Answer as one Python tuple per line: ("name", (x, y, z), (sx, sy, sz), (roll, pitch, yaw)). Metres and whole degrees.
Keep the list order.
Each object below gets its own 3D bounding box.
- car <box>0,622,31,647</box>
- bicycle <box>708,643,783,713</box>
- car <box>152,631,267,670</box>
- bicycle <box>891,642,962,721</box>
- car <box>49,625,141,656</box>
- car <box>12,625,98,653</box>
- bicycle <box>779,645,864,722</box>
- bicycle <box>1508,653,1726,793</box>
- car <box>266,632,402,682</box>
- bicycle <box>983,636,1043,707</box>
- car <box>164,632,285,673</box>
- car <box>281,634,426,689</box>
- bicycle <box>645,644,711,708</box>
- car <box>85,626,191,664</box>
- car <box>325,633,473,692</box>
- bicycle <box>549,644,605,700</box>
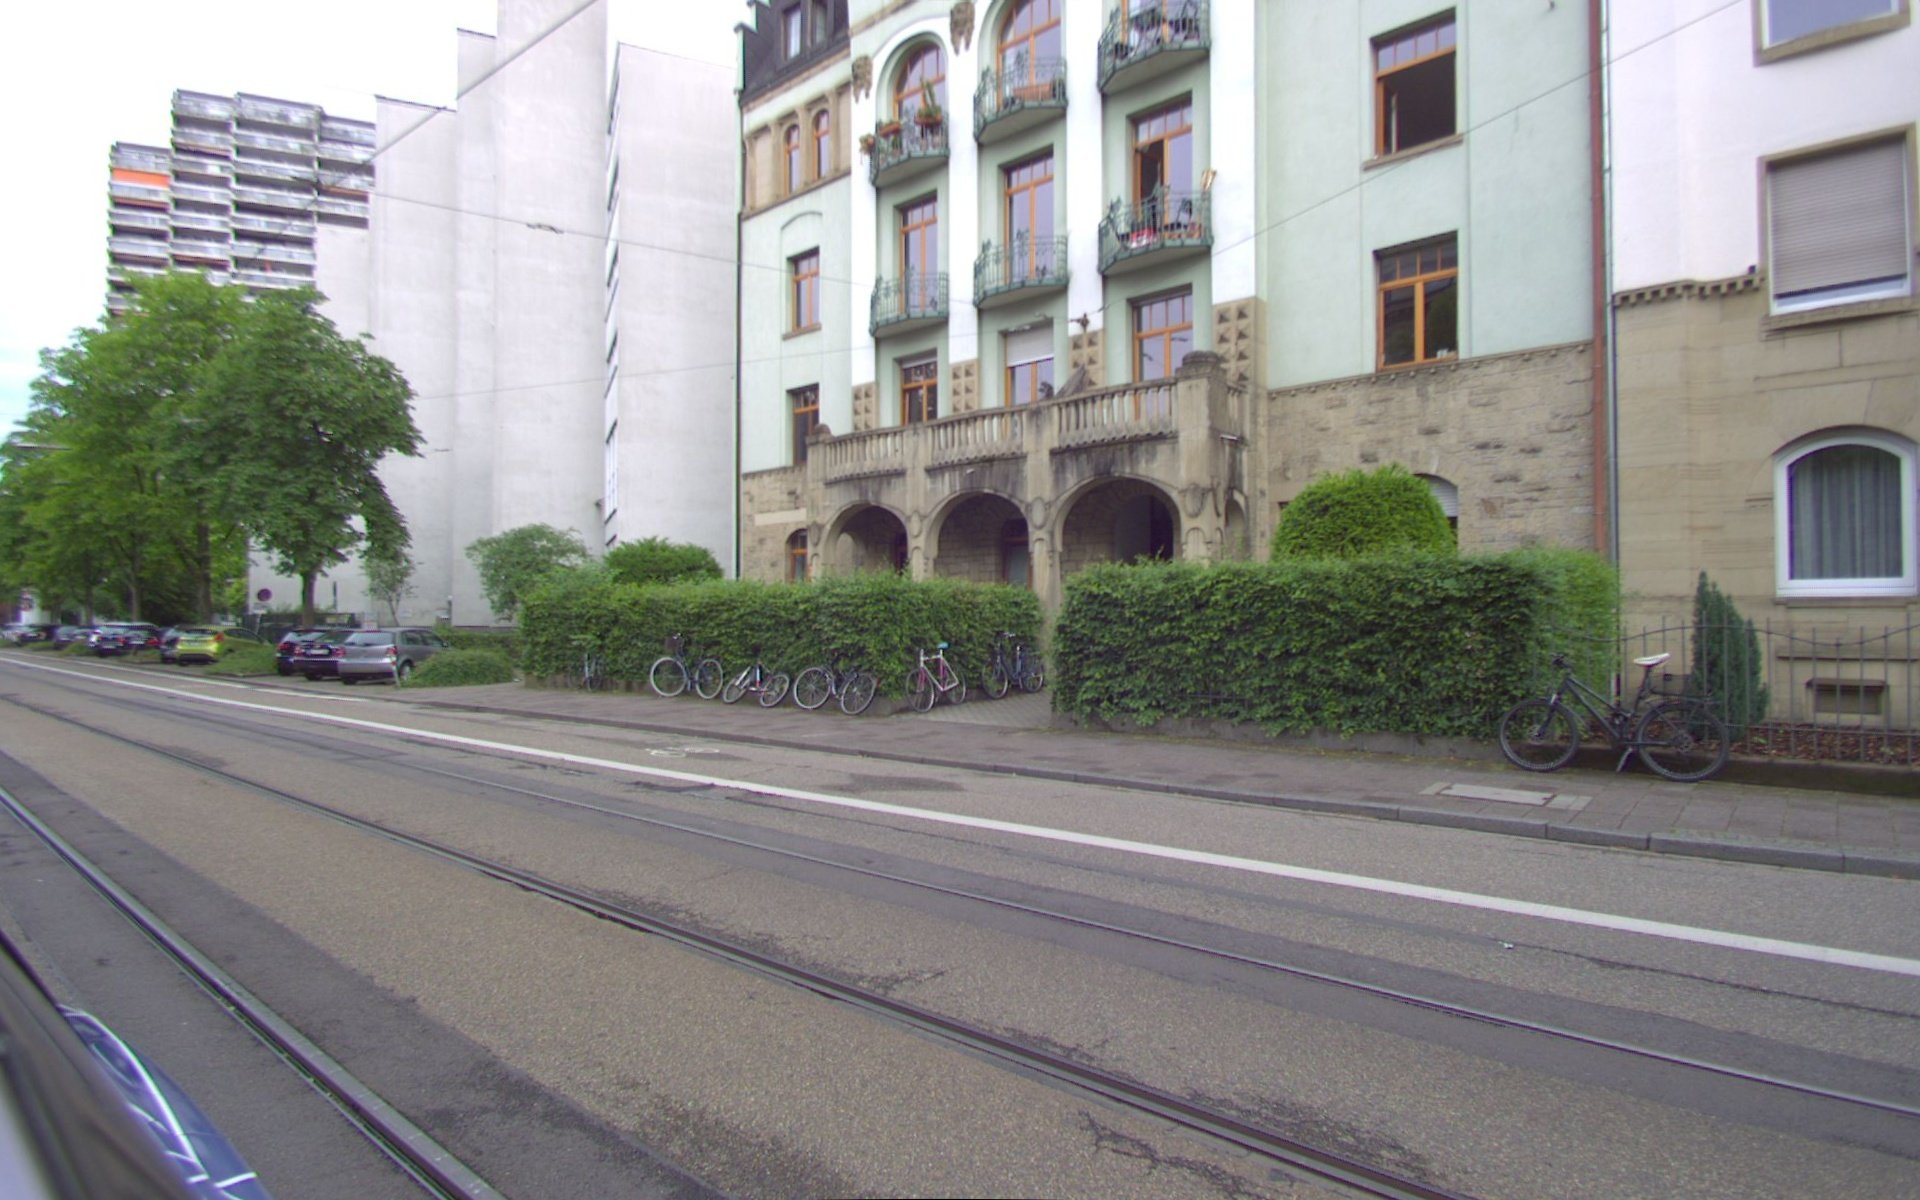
("car", (-62.868, 2.262, 66.858), (3.996, 1.632, 1.673), (-1, -2, 39))
("bicycle", (-3.577, 1.271, 16.794), (1.546, 1.092, 0.356), (-1, -2, 41))
("car", (-29.256, 1.941, 39.629), (1.670, 1.453, 4.002), (0, -2, -3))
("bicycle", (-0.492, 1.213, 15.336), (0.300, 1.091, 1.190), (-2, 0, 42))
("car", (-46.736, 2.173, 54.772), (1.670, 1.632, 4.002), (0, -2, -3))
("car", (-54.404, 2.325, 60.924), (1.670, 1.632, 4.002), (0, -2, -3))
("bicycle", (-2.126, 1.250, 15.466), (1.546, 1.092, 0.356), (-1, -2, 41))
("bicycle", (5.670, 1.025, 8.801), (1.546, 1.092, 0.356), (-1, -2, 41))
("car", (-19.134, 1.716, 31.134), (1.672, 1.414, 3.998), (0, -2, 1))
("bicycle", (0.902, 1.184, 16.976), (0.300, 1.091, 1.190), (-2, 0, 42))
("car", (-27.101, 1.896, 37.458), (1.670, 1.405, 4.002), (0, -2, -3))
("car", (-17.060, 1.689, 28.689), (1.672, 1.414, 3.998), (0, -2, 1))
("bicycle", (-5.091, 1.341, 18.223), (1.546, 1.092, 0.356), (-1, -2, 41))
("car", (-36.937, 1.978, 45.602), (1.670, 1.632, 4.002), (0, -2, -3))
("car", (-14.804, 1.612, 26.972), (1.672, 1.414, 3.998), (0, -2, 1))
("bicycle", (-7.775, 1.441, 20.527), (1.546, 1.092, 0.356), (-1, -2, 41))
